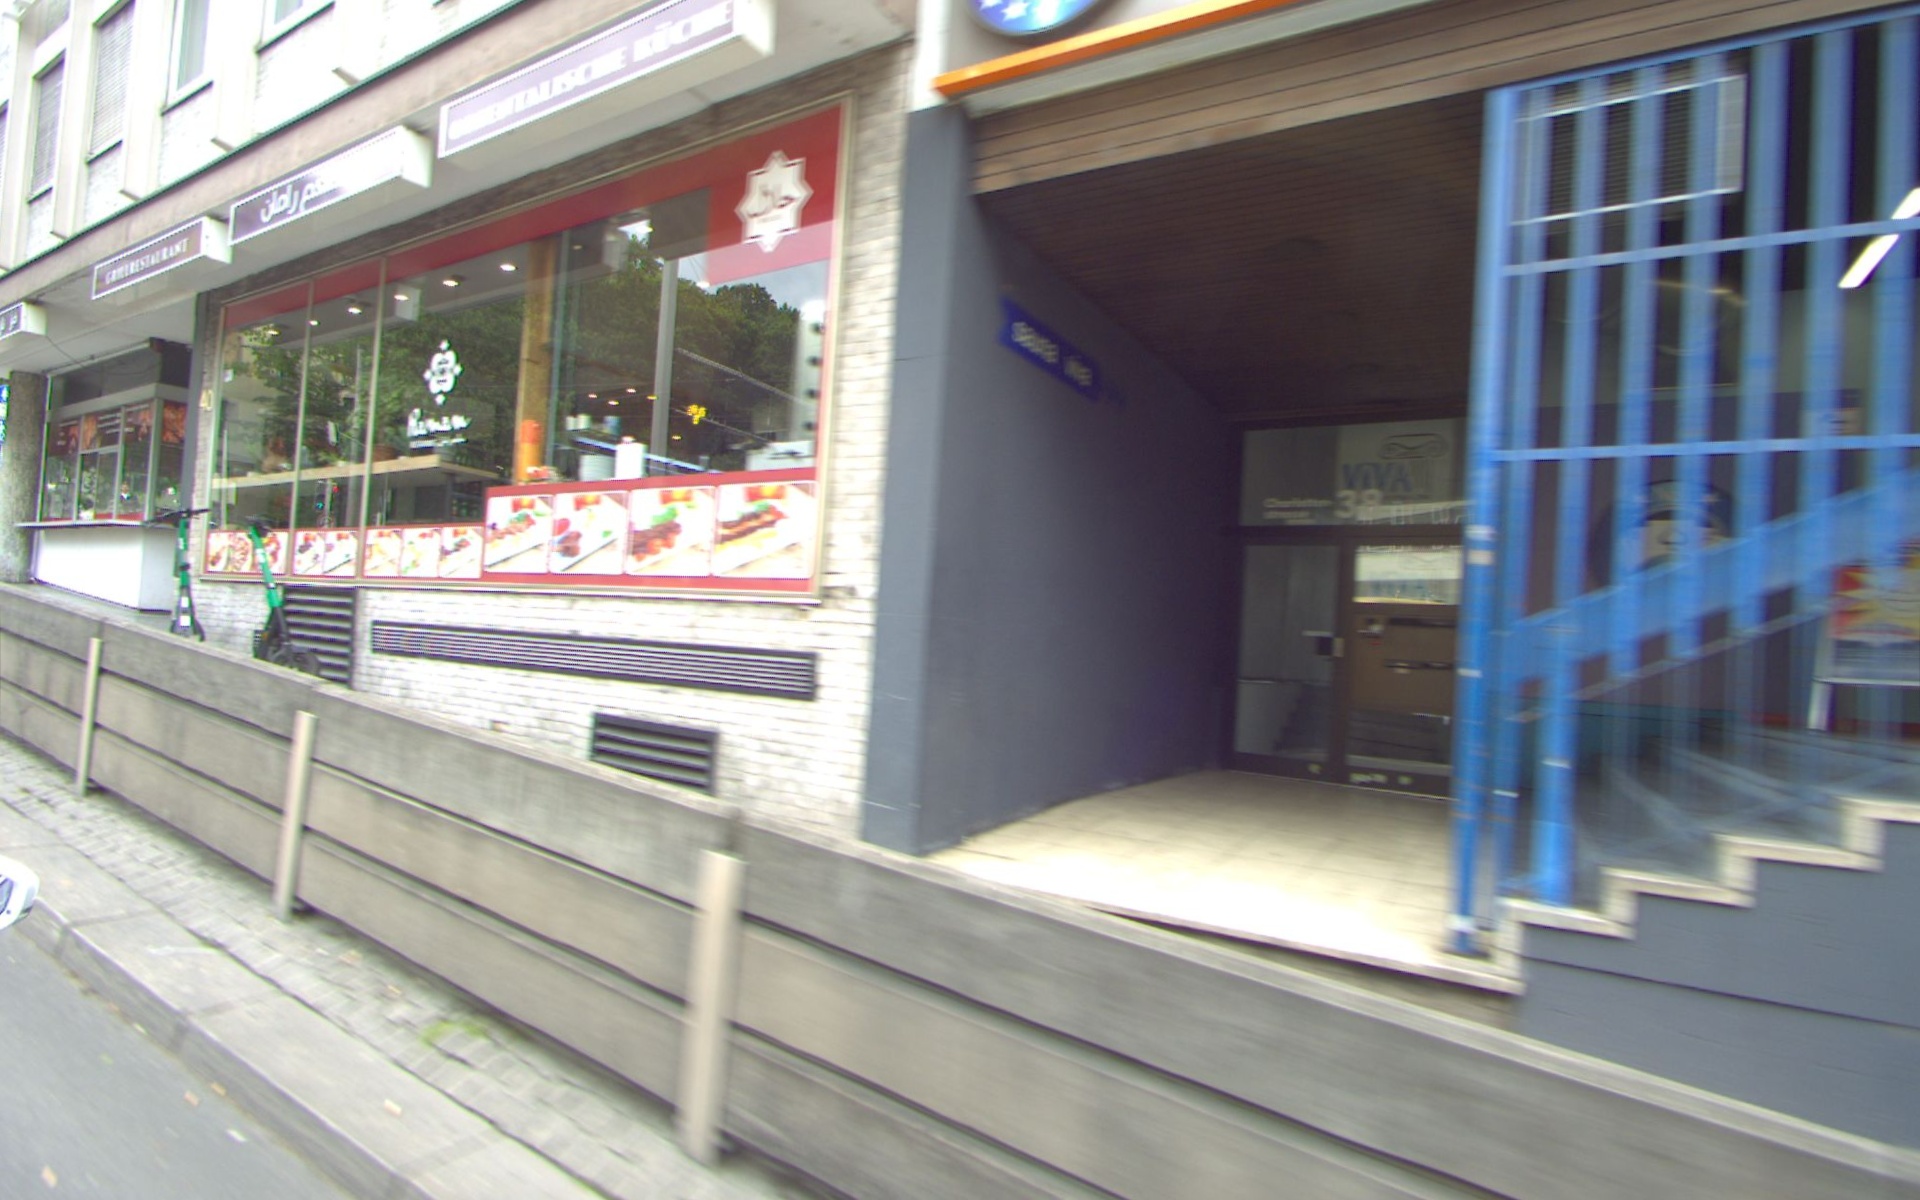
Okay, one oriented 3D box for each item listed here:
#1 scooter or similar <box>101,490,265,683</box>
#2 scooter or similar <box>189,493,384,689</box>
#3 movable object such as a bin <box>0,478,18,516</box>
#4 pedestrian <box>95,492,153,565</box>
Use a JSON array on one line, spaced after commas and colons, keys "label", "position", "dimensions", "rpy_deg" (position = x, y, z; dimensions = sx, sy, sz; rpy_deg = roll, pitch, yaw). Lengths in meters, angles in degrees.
[{"label": "scooter or similar", "position": [-6.622, -0.121, 8.565], "dimensions": [1.160, 1.493, 0.668], "rpy_deg": [6, 0, 34]}, {"label": "scooter or similar", "position": [-4.876, -0.077, 7.269], "dimensions": [1.312, 1.264, 0.631], "rpy_deg": [6, 0, 34]}, {"label": "movable object such as a bin", "position": [-78.430, -8.464, 81.818], "dimensions": [1.973, 2.874, 2.018], "rpy_deg": [5, 1, -24]}, {"label": "pedestrian", "position": [-23.140, -1.955, 27.859], "dimensions": [0.829, 1.829, 1.141], "rpy_deg": [11, -3, -33]}]
